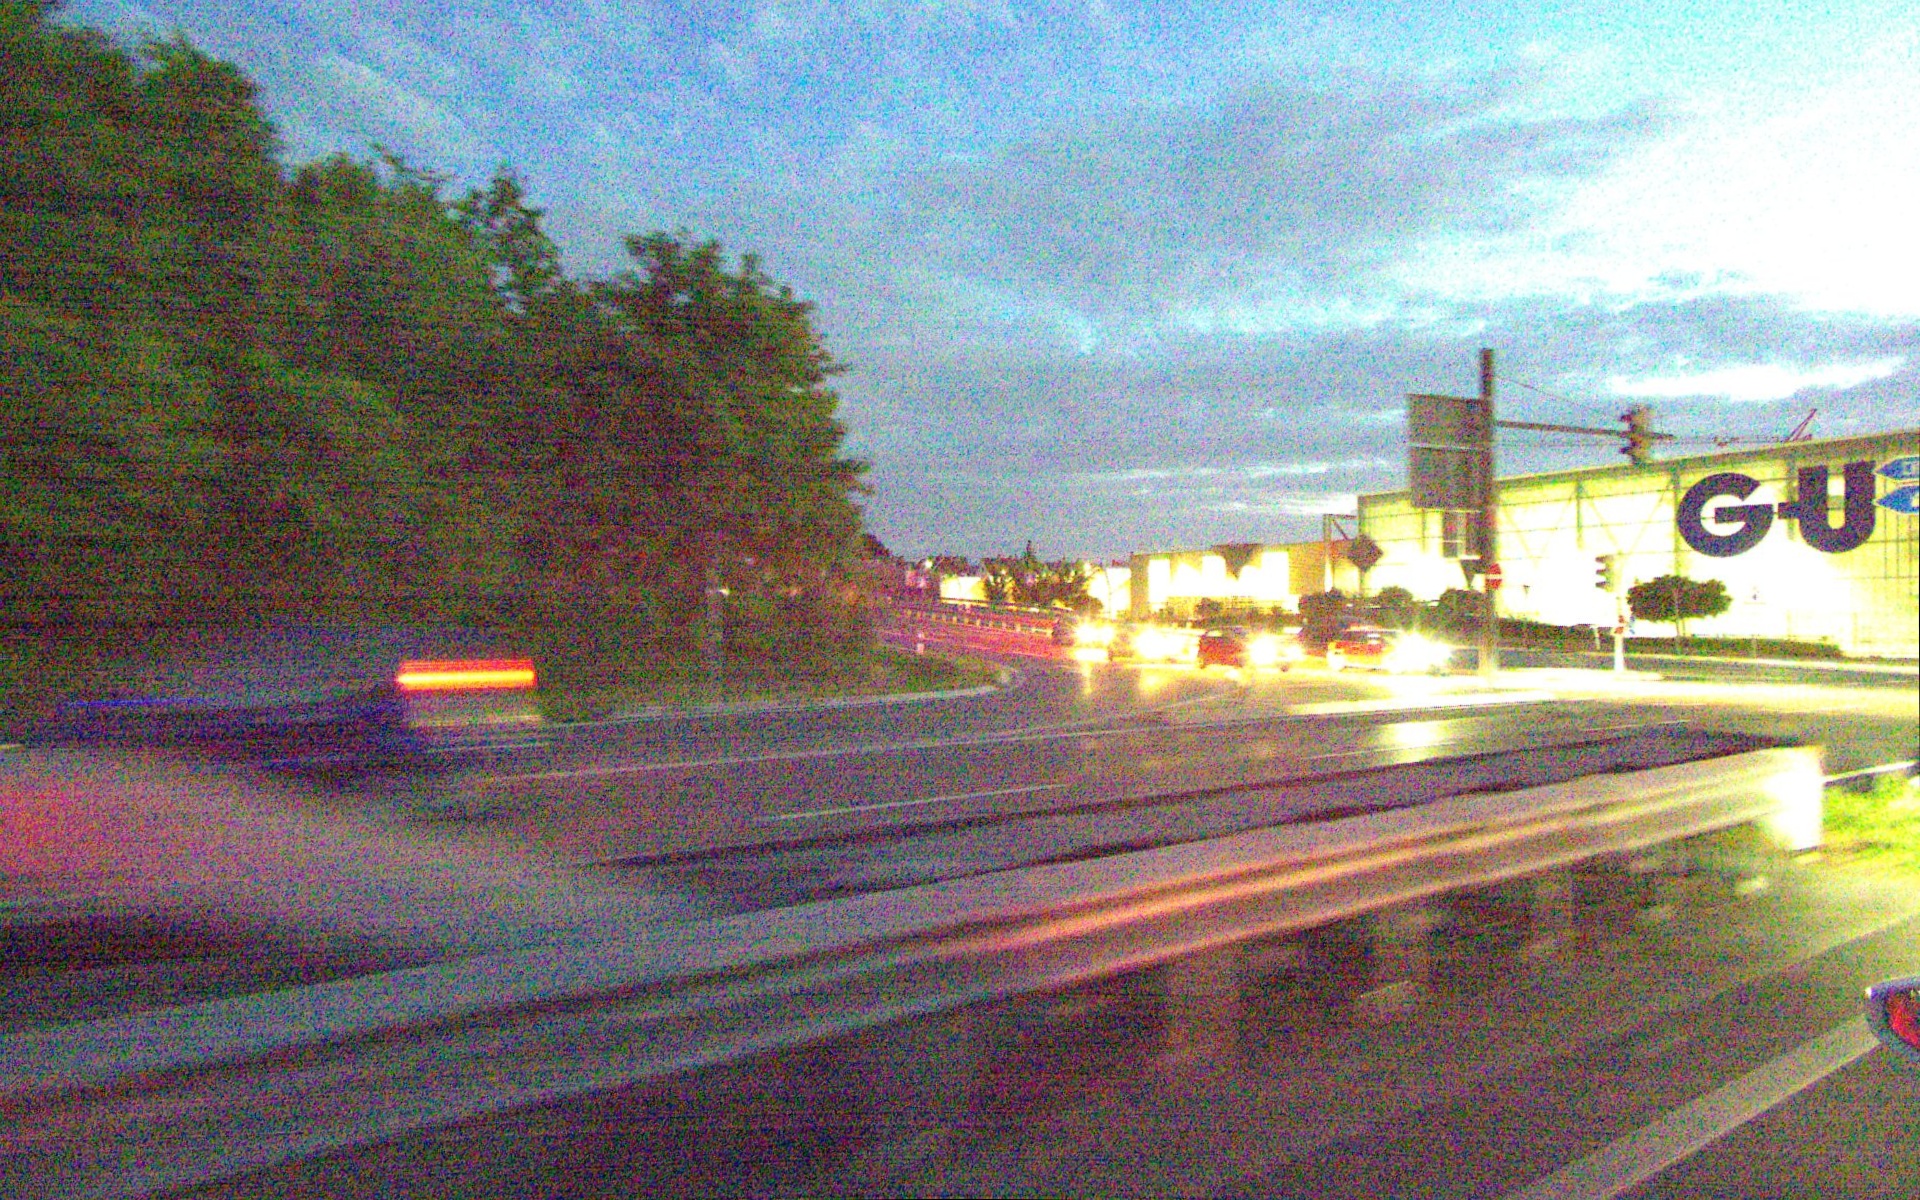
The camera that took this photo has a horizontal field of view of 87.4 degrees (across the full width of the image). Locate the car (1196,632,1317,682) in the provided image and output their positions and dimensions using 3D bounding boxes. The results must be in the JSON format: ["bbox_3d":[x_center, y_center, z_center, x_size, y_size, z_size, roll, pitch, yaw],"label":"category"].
[{"bbox_3d":[9.681,1.840,33.128,1.735,1.479,3.979,2,-2,-22],"label":"car"}]

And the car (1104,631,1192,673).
[{"bbox_3d":[7.376,2.006,39.739,1.664,1.479,3.792,-1,0,-22],"label":"car"}]

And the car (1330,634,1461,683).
[{"bbox_3d":[14.162,1.875,32.881,1.681,1.494,3.848,2,-3,-24],"label":"car"}]

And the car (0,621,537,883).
[{"bbox_3d":[-5.013,0.945,7.224,3.475,1.539,1.538,1,-3,-31],"label":"car"}]

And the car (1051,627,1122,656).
[{"bbox_3d":[6.468,2.109,51.747,1.971,1.416,3.978,1,-1,-23],"label":"car"}]

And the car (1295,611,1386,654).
[{"bbox_3d":[19.578,1.631,51.686,3.937,2.040,1.992,2,0,38],"label":"car"}]
